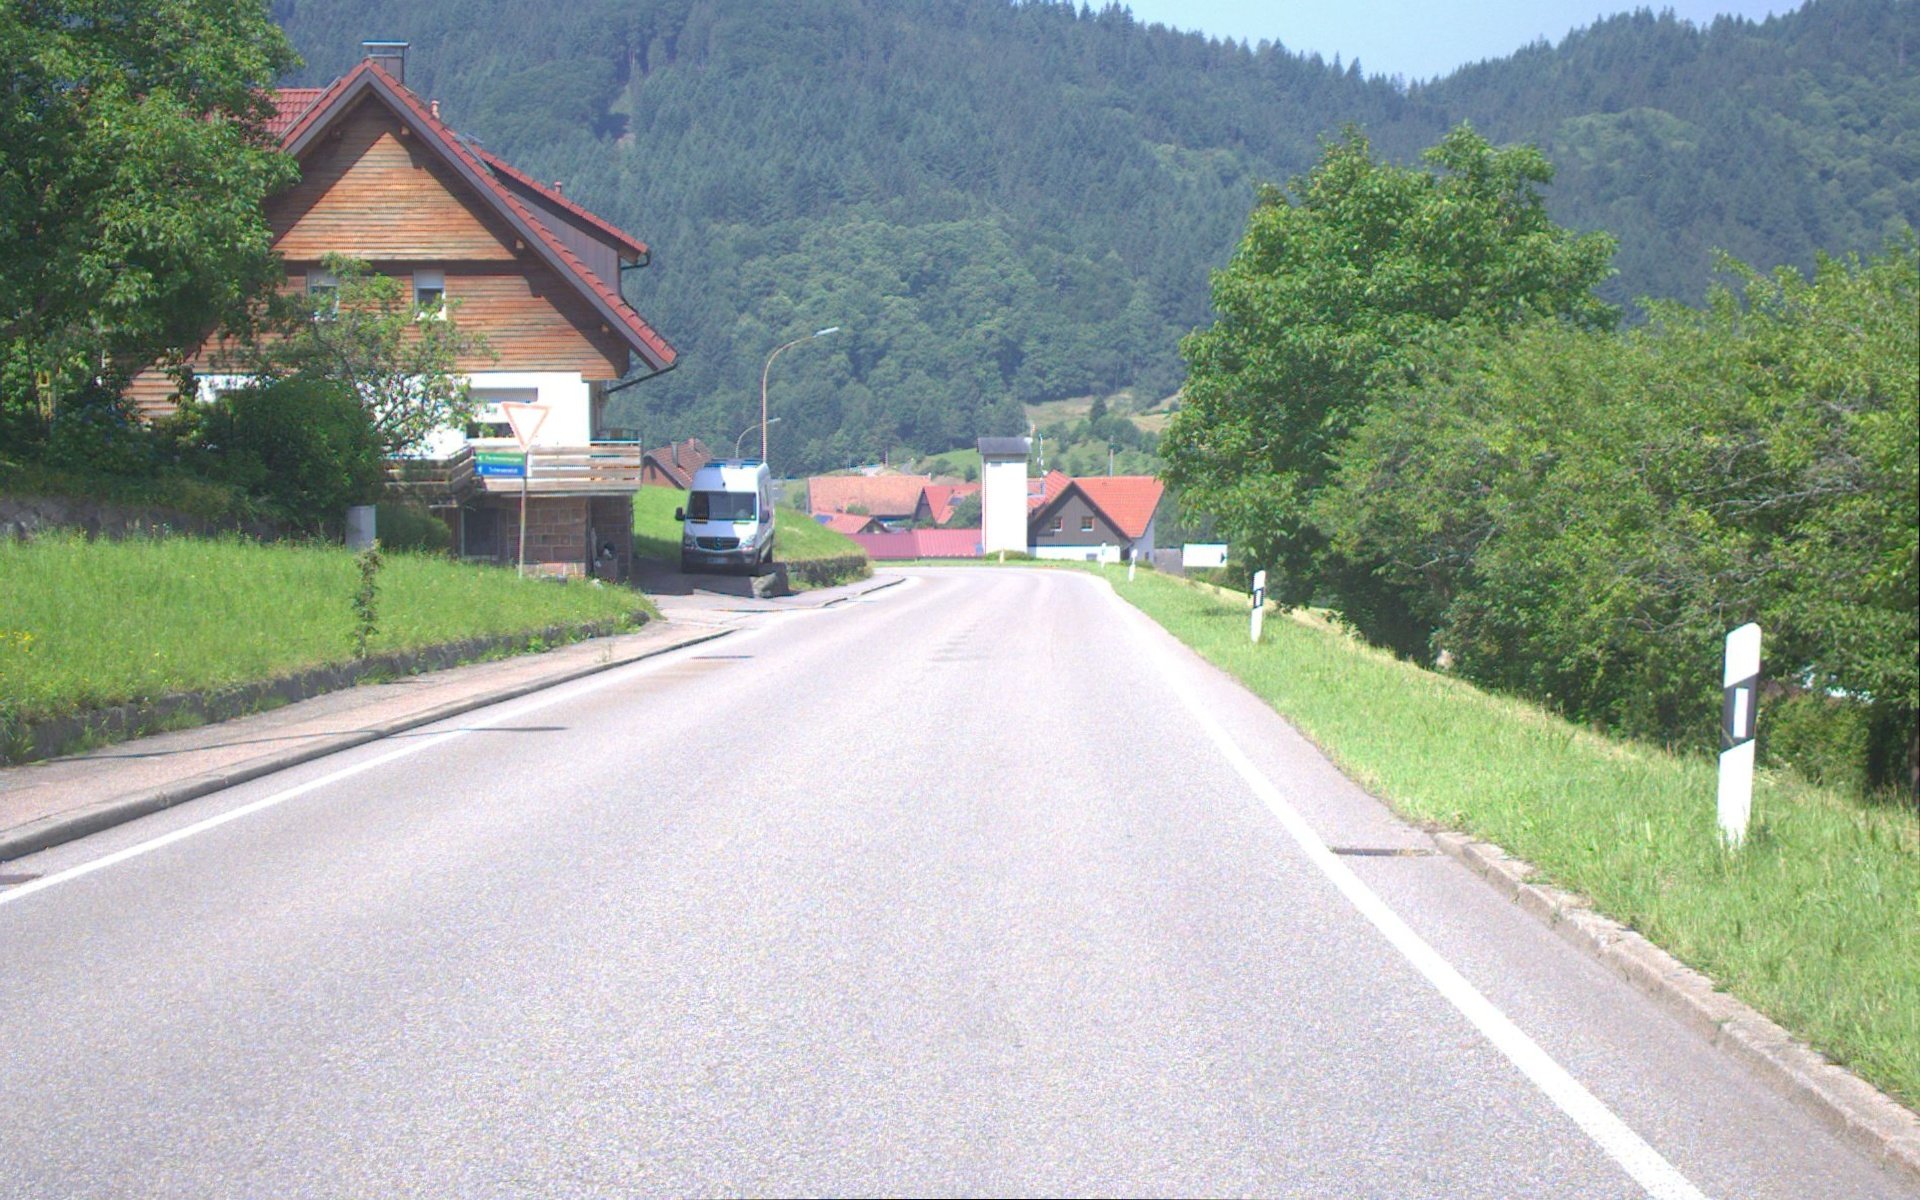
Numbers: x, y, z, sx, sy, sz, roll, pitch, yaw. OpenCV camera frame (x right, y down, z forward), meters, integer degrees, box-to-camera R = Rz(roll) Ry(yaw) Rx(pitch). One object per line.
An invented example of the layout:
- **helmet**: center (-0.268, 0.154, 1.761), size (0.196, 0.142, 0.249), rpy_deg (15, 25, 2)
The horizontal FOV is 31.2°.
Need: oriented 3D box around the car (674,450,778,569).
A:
- **car**: center (-5.951, -2.386, 88.386), size (2.067, 2.679, 7.175), rpy_deg (0, 4, 1)
